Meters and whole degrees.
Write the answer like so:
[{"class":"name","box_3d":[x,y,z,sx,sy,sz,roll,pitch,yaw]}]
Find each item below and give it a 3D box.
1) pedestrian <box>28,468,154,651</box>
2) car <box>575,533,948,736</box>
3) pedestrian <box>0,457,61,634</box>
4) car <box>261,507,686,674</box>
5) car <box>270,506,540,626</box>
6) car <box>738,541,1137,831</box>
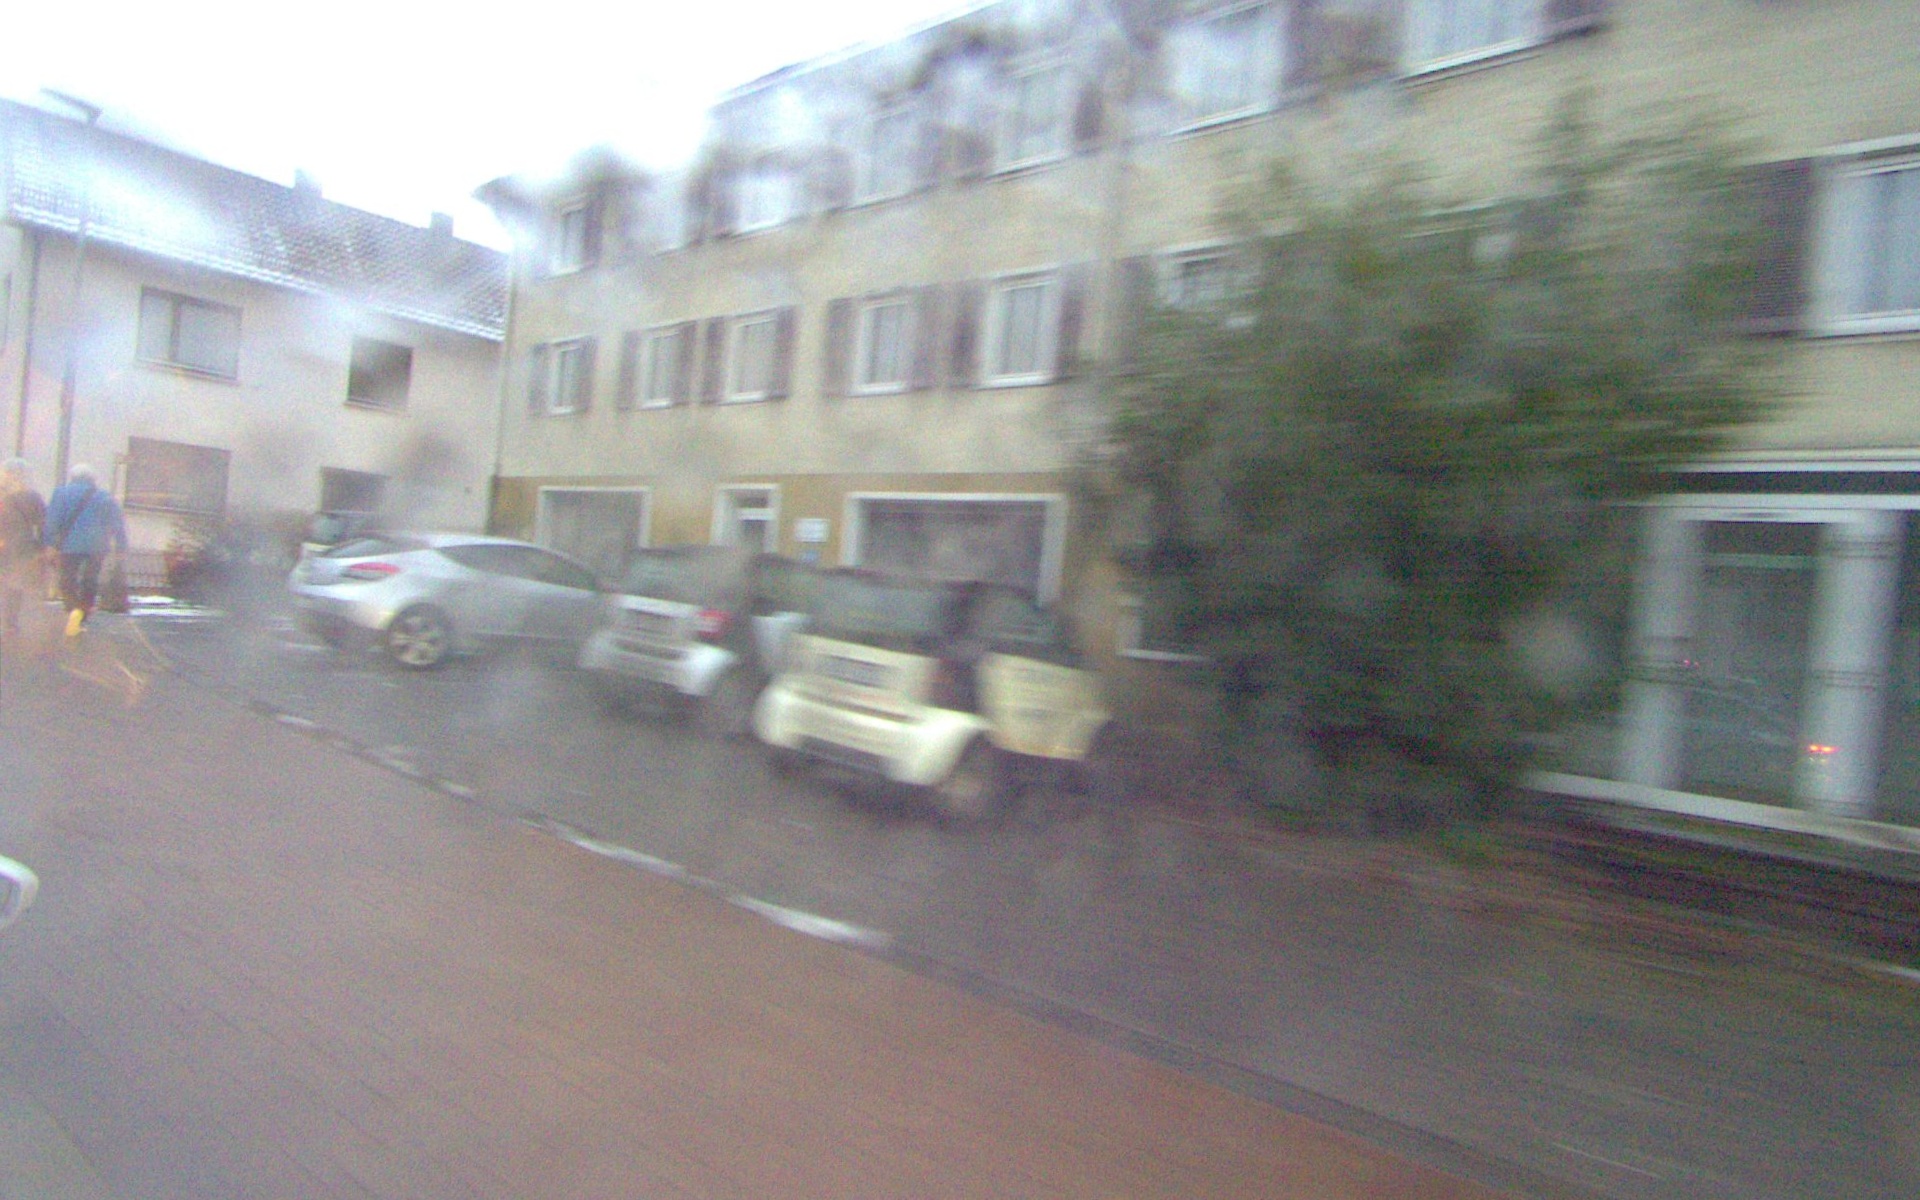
[{"class":"pedestrian","box_3d":[-8.883,-0.415,10.280,0.958,1.757,0.845,7,4,43]},{"class":"car","box_3d":[-1.714,0.315,9.350,1.526,1.493,3.061,7,1,38]},{"class":"pedestrian","box_3d":[-9.534,-0.562,9.942,0.978,1.690,0.864,7,4,43]},{"class":"car","box_3d":[-5.281,-0.032,11.357,1.724,1.493,3.896,7,1,38]},{"class":"car","box_3d":[-8.421,-0.469,15.470,1.562,1.493,3.215,7,1,35]},{"class":"car","box_3d":[-0.045,0.535,7.264,1.527,1.567,2.582,7,2,35]}]
